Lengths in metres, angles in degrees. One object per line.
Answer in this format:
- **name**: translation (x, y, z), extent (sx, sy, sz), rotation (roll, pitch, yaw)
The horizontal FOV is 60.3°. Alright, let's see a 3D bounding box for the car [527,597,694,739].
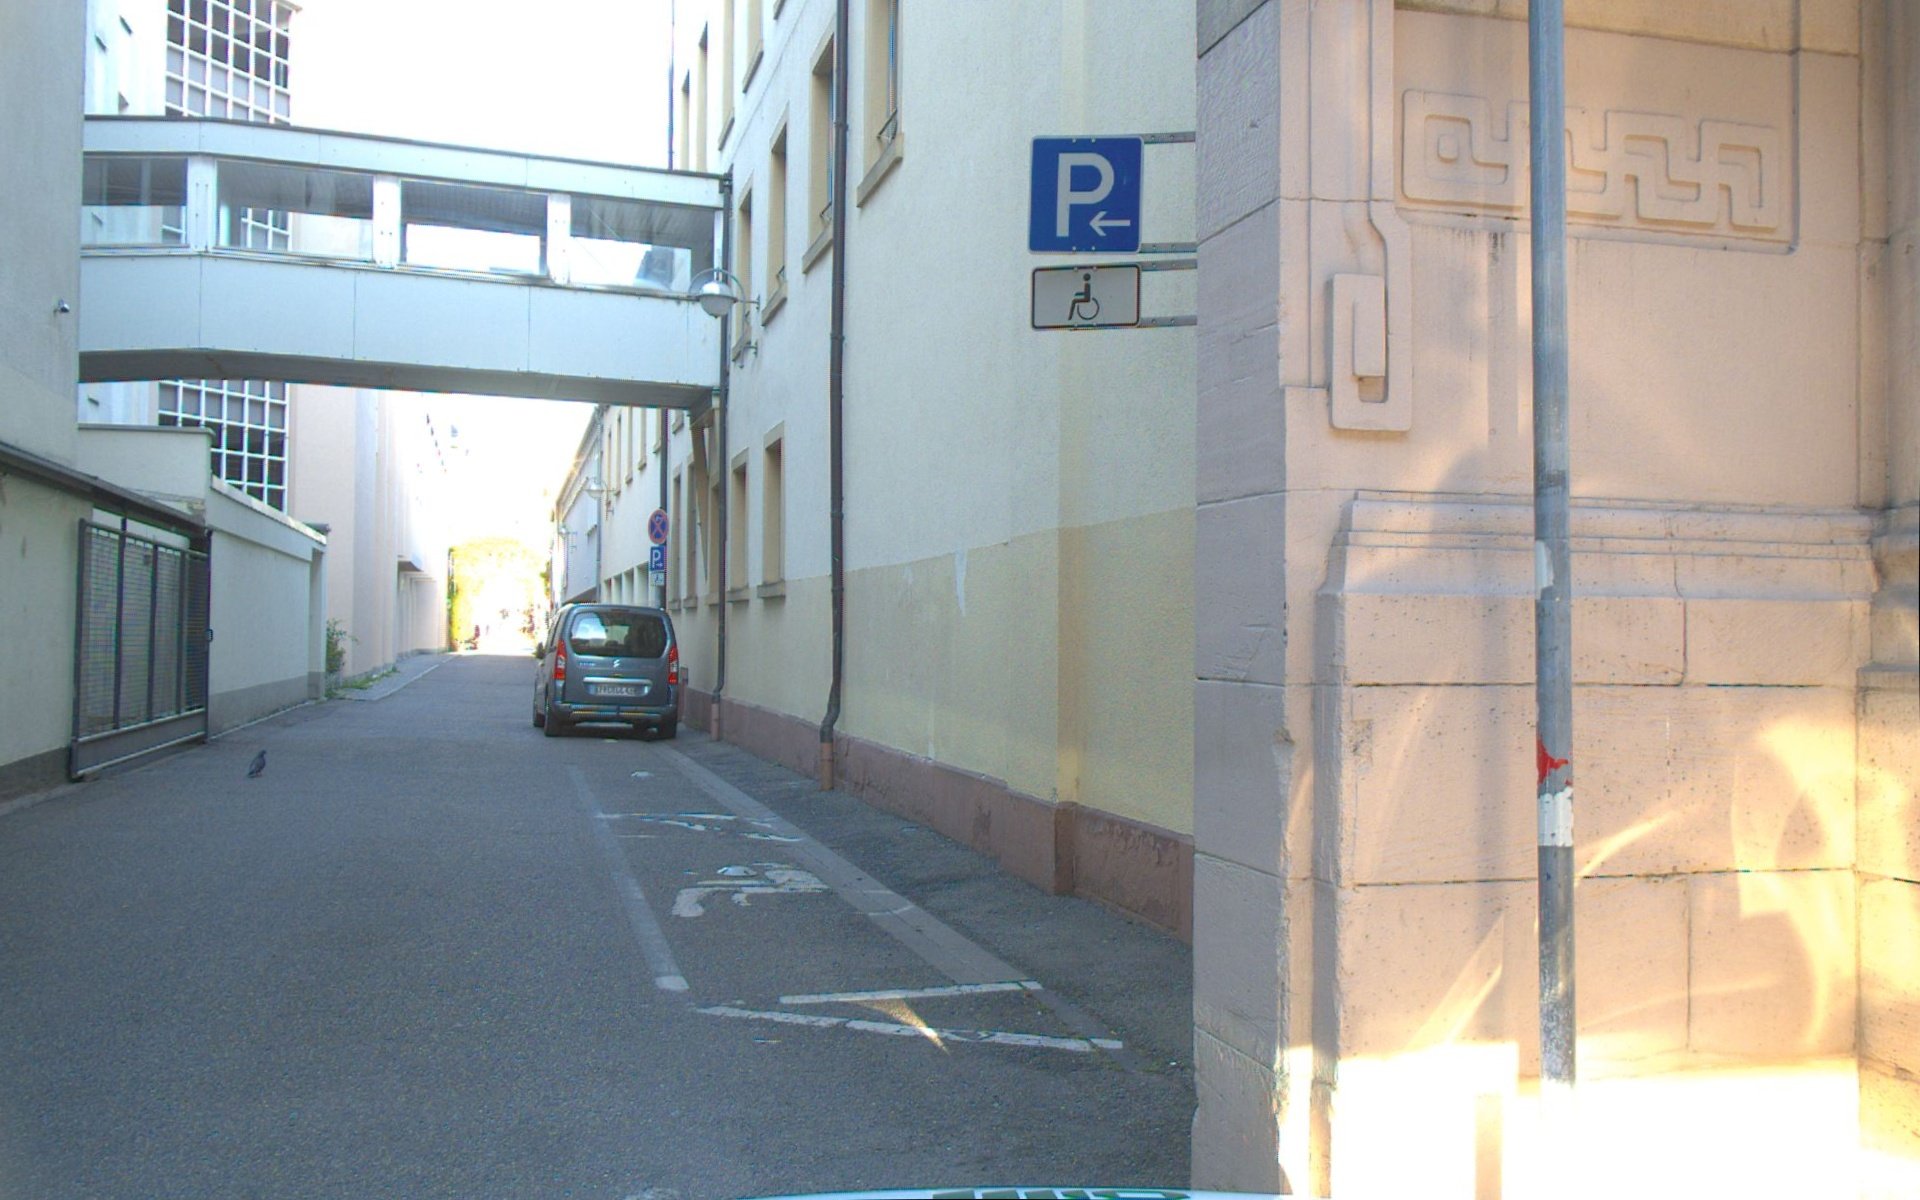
- **car**: translation (-5.112, 0.920, 23.805), extent (1.827, 1.786, 4.141), rotation (4, -2, -18)
